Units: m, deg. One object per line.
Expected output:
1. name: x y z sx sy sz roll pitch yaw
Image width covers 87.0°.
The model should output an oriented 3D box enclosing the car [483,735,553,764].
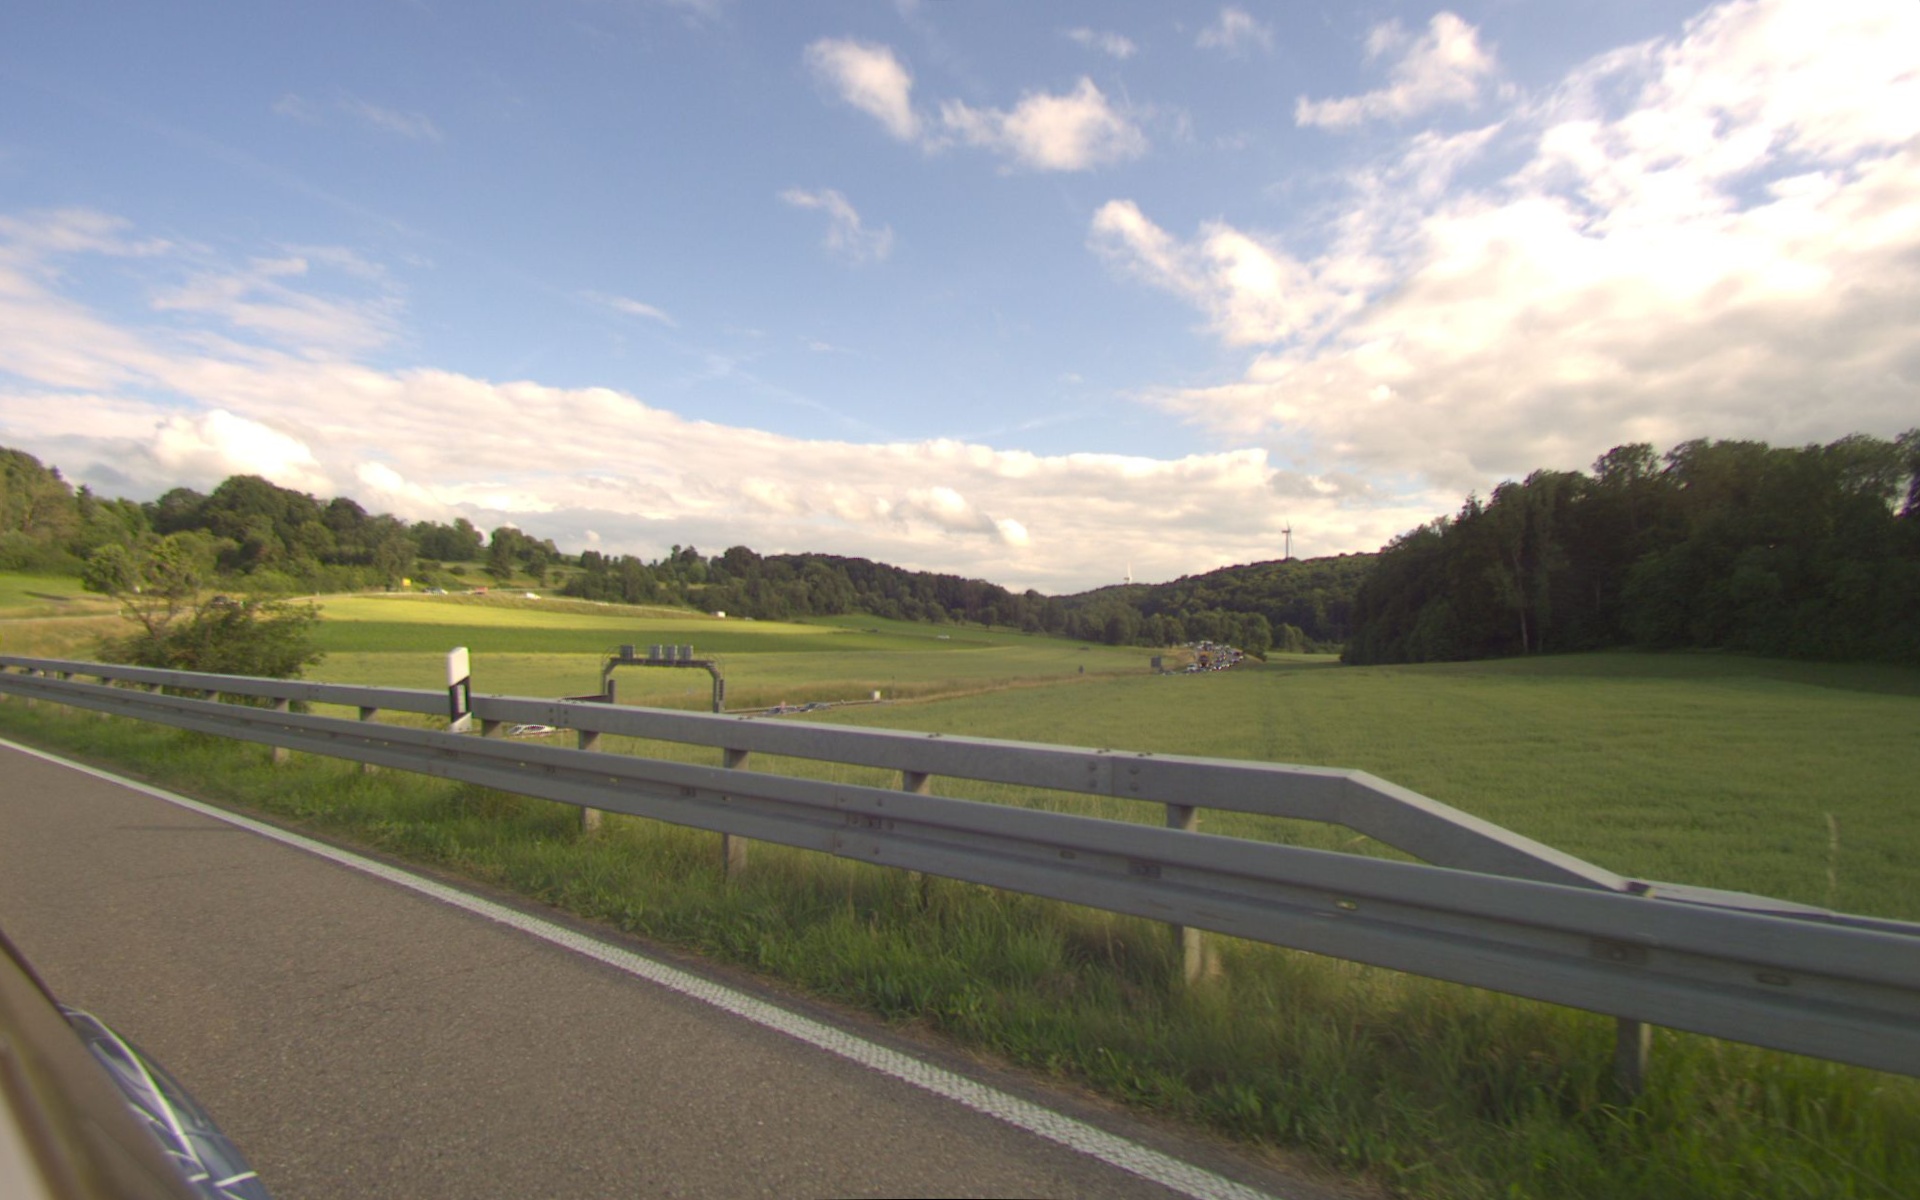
1. car: -30.200 10.192 69.198 1.822 1.662 3.957 0 -5 31

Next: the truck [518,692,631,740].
1. truck: -29.910 9.089 78.926 2.117 3.431 8.400 0 -6 33
